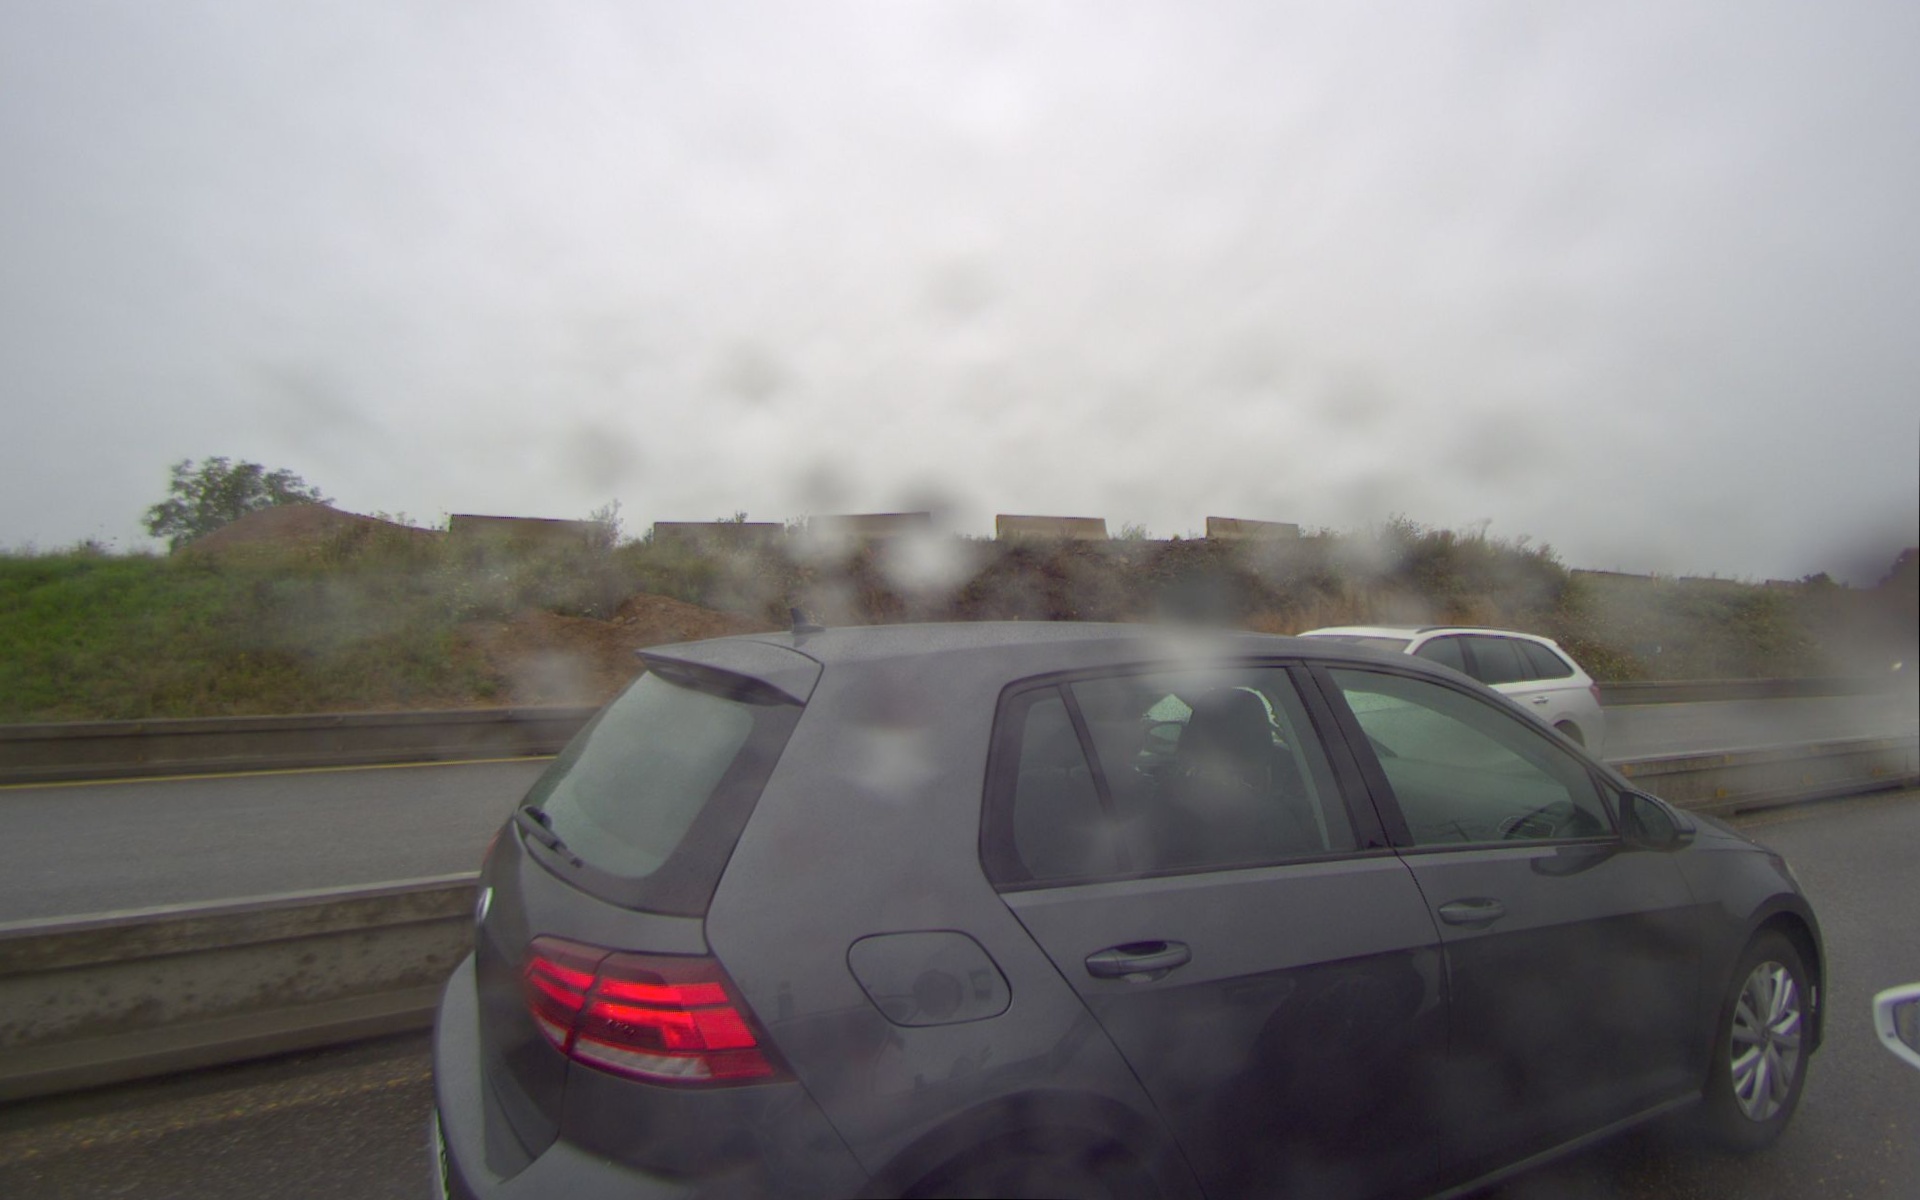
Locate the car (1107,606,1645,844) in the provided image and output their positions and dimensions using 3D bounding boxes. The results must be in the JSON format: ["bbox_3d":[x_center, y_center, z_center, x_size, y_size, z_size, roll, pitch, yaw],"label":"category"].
[{"bbox_3d":[3.588,0.872,8.412,4.579,1.522,1.736,2,0,-30],"label":"car"}]

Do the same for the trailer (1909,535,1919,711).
[{"bbox_3d":[31.910,0.654,27.832,15.497,4.479,2.985,1,-2,-27],"label":"trailer"}]

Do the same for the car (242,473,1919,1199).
[{"bbox_3d":[0.752,0.721,2.818,4.315,1.526,1.608,2,-3,-29],"label":"car"}]

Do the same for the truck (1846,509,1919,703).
[{"bbox_3d":[25.149,0.192,24.430,6.840,4.466,2.970,1,-2,-26],"label":"truck"}]
